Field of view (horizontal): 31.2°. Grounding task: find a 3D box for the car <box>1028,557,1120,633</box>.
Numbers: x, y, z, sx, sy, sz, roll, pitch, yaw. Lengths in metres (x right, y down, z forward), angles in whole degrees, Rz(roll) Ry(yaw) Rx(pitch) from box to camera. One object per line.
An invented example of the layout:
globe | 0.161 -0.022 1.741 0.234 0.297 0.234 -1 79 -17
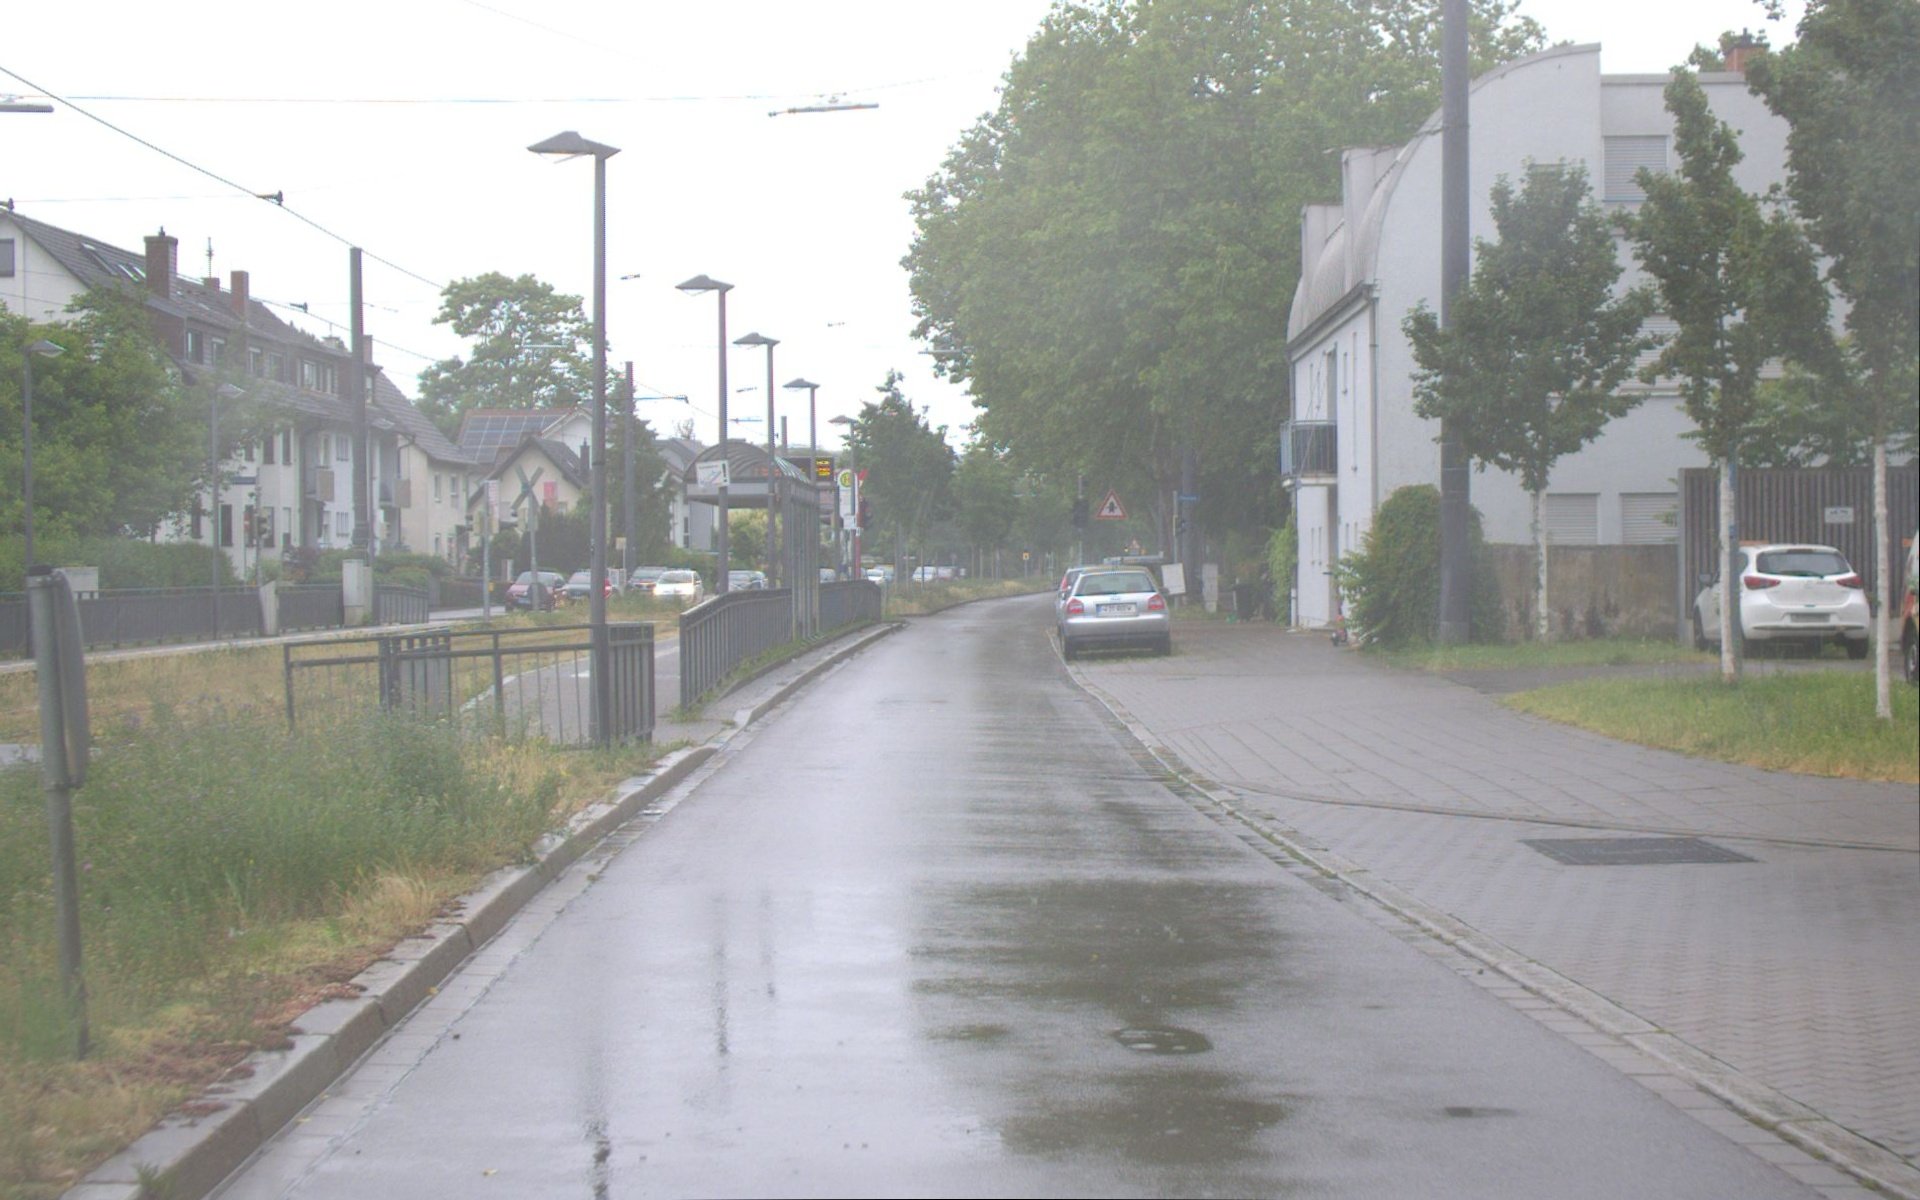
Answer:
car | 2.378 -0.090 72.395 1.807 1.462 3.794 -3 0 1

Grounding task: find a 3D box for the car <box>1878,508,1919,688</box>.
car | 10.405 0.006 33.087 1.963 1.778 4.897 1 1 2

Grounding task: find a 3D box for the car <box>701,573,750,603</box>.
car | -11.926 -0.617 175.109 1.929 1.481 3.999 1 0 4

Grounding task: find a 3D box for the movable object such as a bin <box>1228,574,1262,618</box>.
movable object such as a bin | 6.760 -0.093 81.587 0.692 1.018 0.824 -3 0 0

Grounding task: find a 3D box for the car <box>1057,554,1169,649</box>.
car | 2.464 0.028 56.265 1.650 1.400 4.649 -3 0 1

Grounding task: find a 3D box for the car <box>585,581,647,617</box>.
car | -14.514 -0.048 145.368 1.929 1.481 3.999 1 0 4

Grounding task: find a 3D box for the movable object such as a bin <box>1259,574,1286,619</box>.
movable object such as a bin | 7.344 -0.083 80.872 0.536 1.018 0.739 -2 0 0

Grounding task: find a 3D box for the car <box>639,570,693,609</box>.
car | -11.581 -0.413 135.509 1.633 1.488 4.000 1 0 2

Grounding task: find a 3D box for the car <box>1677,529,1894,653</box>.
car | 10.838 -0.163 45.442 1.963 1.529 4.363 1 1 2

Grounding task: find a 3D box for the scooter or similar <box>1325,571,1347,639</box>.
scooter or similar | 6.017 0.082 54.975 0.333 1.081 1.395 1 0 6
